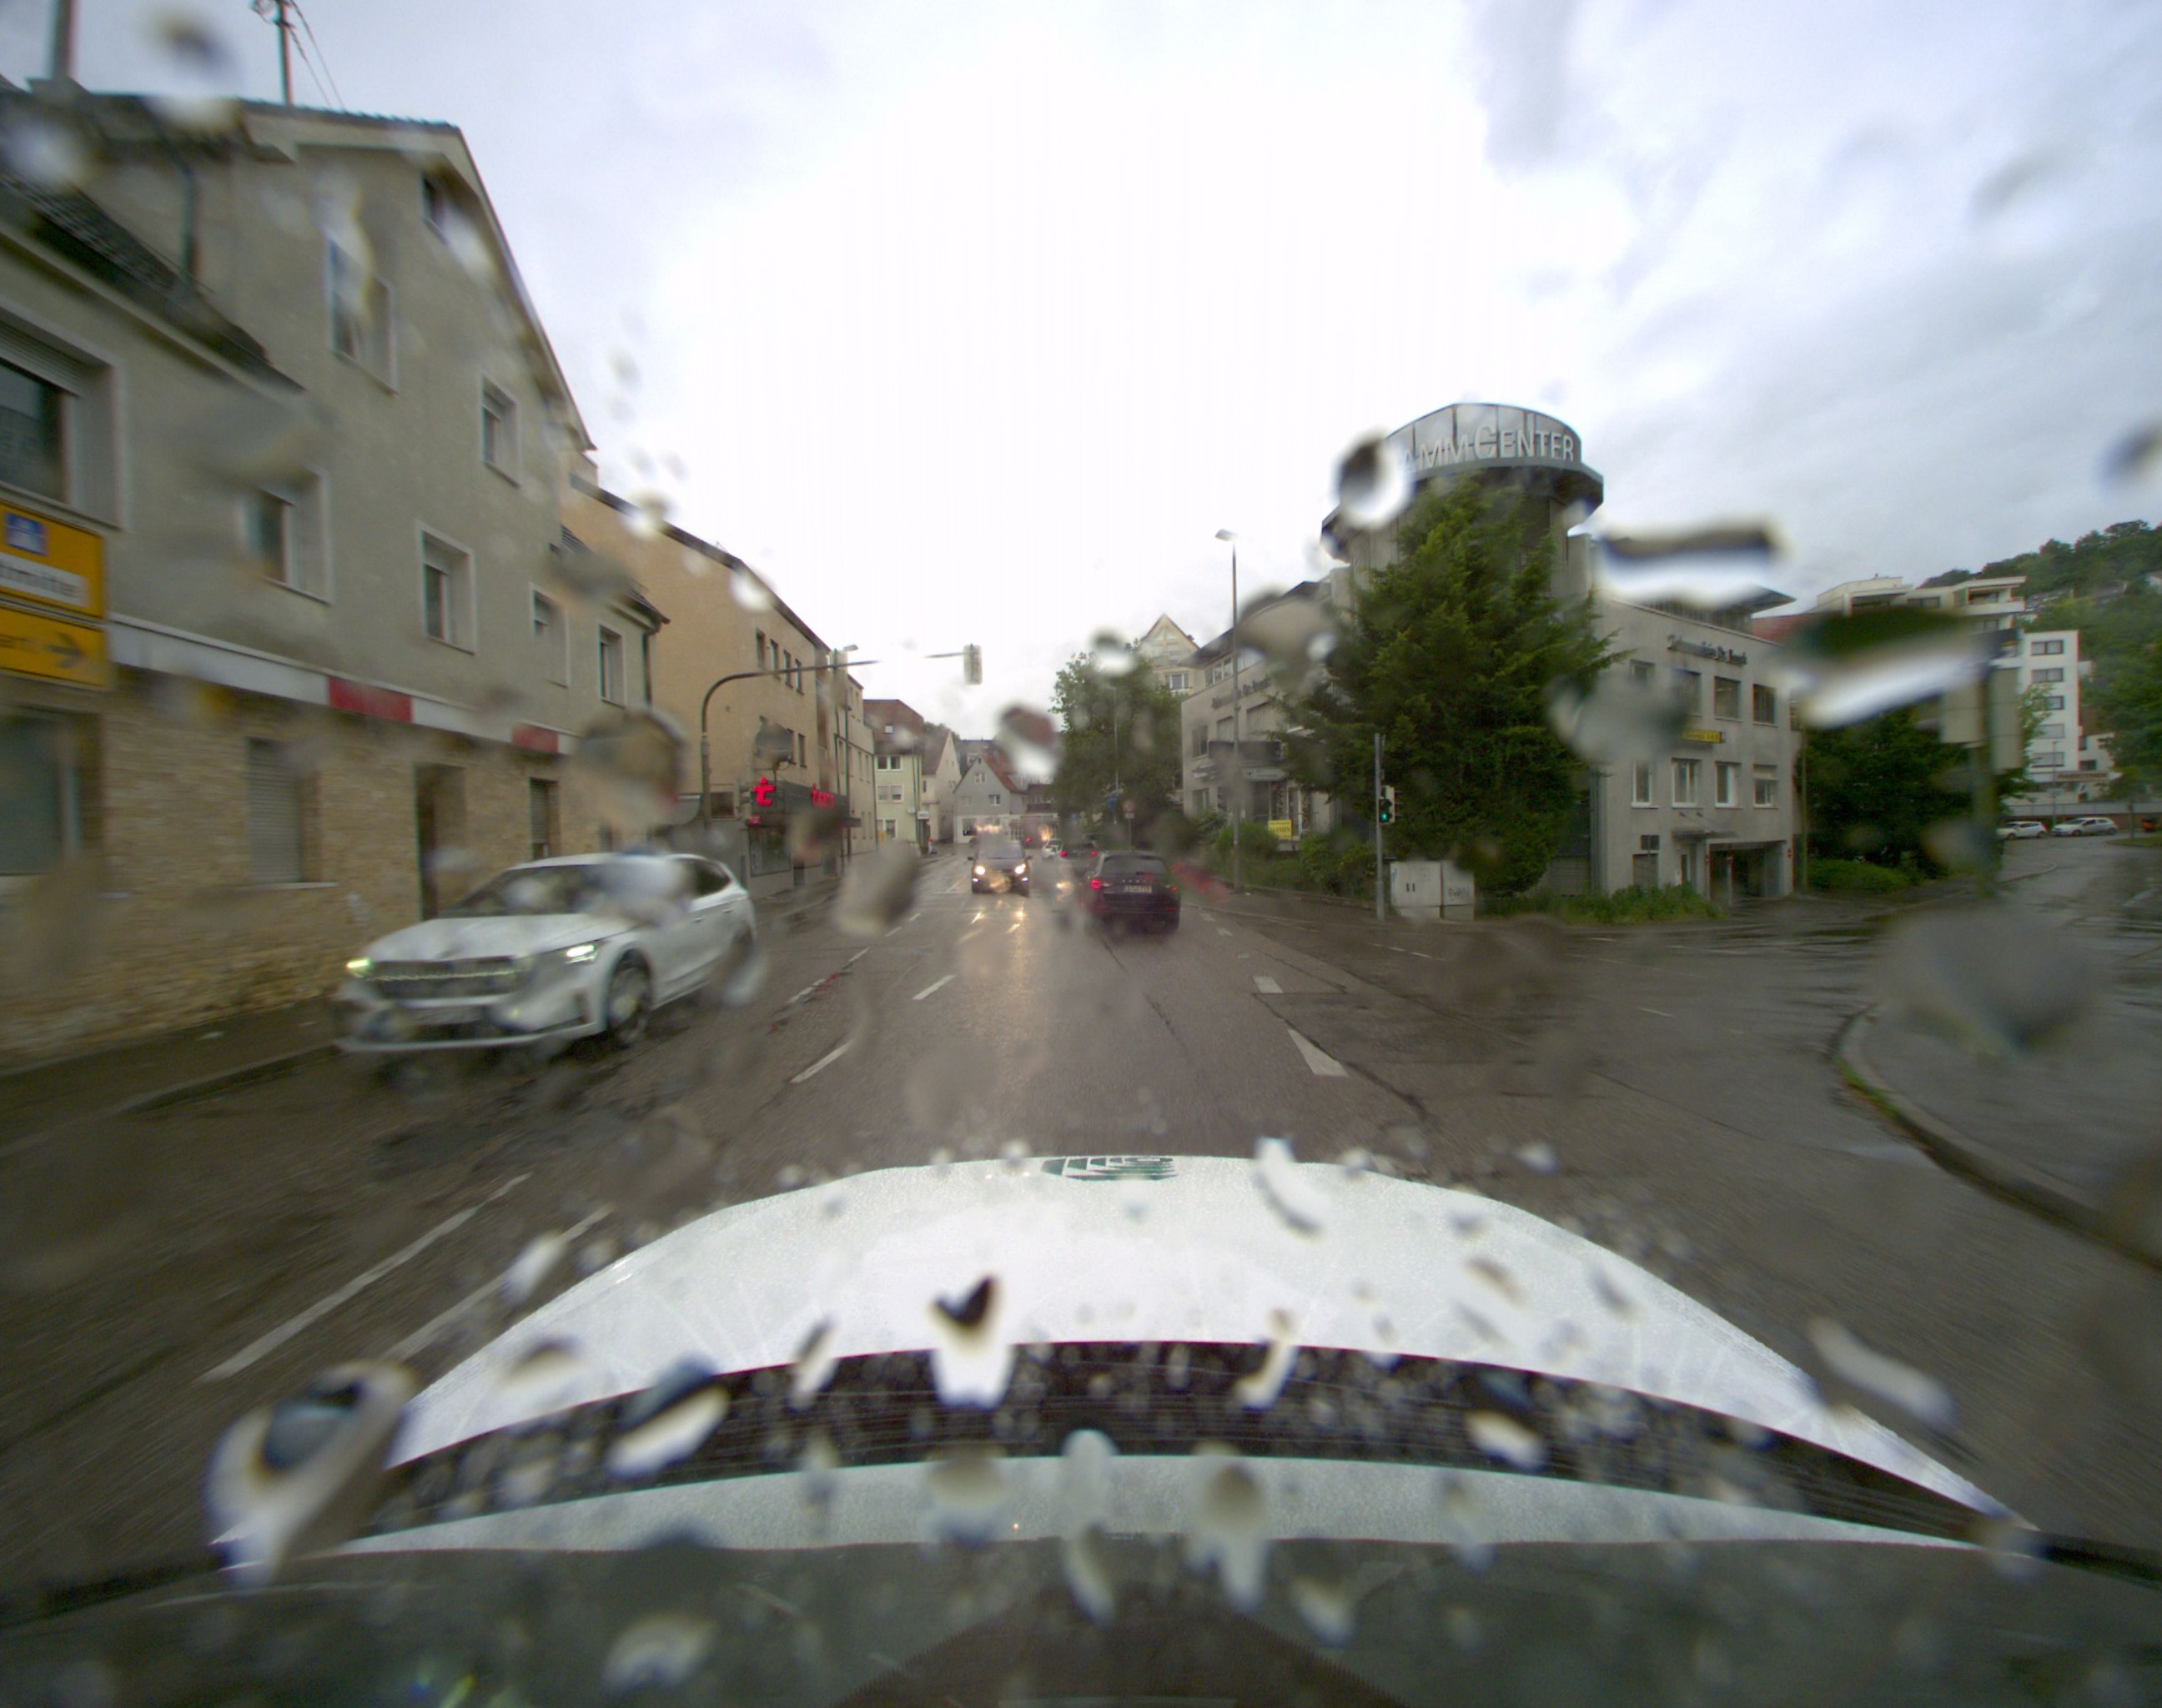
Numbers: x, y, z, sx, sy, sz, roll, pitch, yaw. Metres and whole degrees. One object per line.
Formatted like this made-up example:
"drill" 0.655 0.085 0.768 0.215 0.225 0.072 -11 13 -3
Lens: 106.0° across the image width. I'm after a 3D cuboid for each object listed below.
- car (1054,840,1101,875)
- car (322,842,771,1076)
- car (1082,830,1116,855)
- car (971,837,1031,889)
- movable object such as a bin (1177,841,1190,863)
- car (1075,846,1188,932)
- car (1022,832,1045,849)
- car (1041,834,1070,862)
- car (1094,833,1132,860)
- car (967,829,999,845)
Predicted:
"car" -0.208 0.117 34.776 1.814 1.359 3.986 -1 1 -3
"car" -4.630 0.713 8.007 1.782 1.560 4.329 -2 1 -5
"car" 1.276 -0.808 58.229 1.850 1.641 3.862 -3 1 -7
"car" -2.632 0.227 26.980 1.782 1.562 4.394 -1 1 -5
"movable object such as a bin" 4.642 -0.089 36.746 0.508 0.945 0.605 2 5 13
"car" 0.889 0.606 16.590 1.778 1.483 4.241 1 1 -3
"car" -4.949 -1.412 83.754 1.893 1.590 3.675 -2 0 -10
"car" -1.623 -0.346 50.862 1.723 1.591 4.179 0 -2 -3
"car" 2.043 -0.503 52.386 1.850 1.641 3.530 -3 1 -7
"car" -11.516 -1.941 95.534 1.910 1.682 3.643 -2 0 -44
